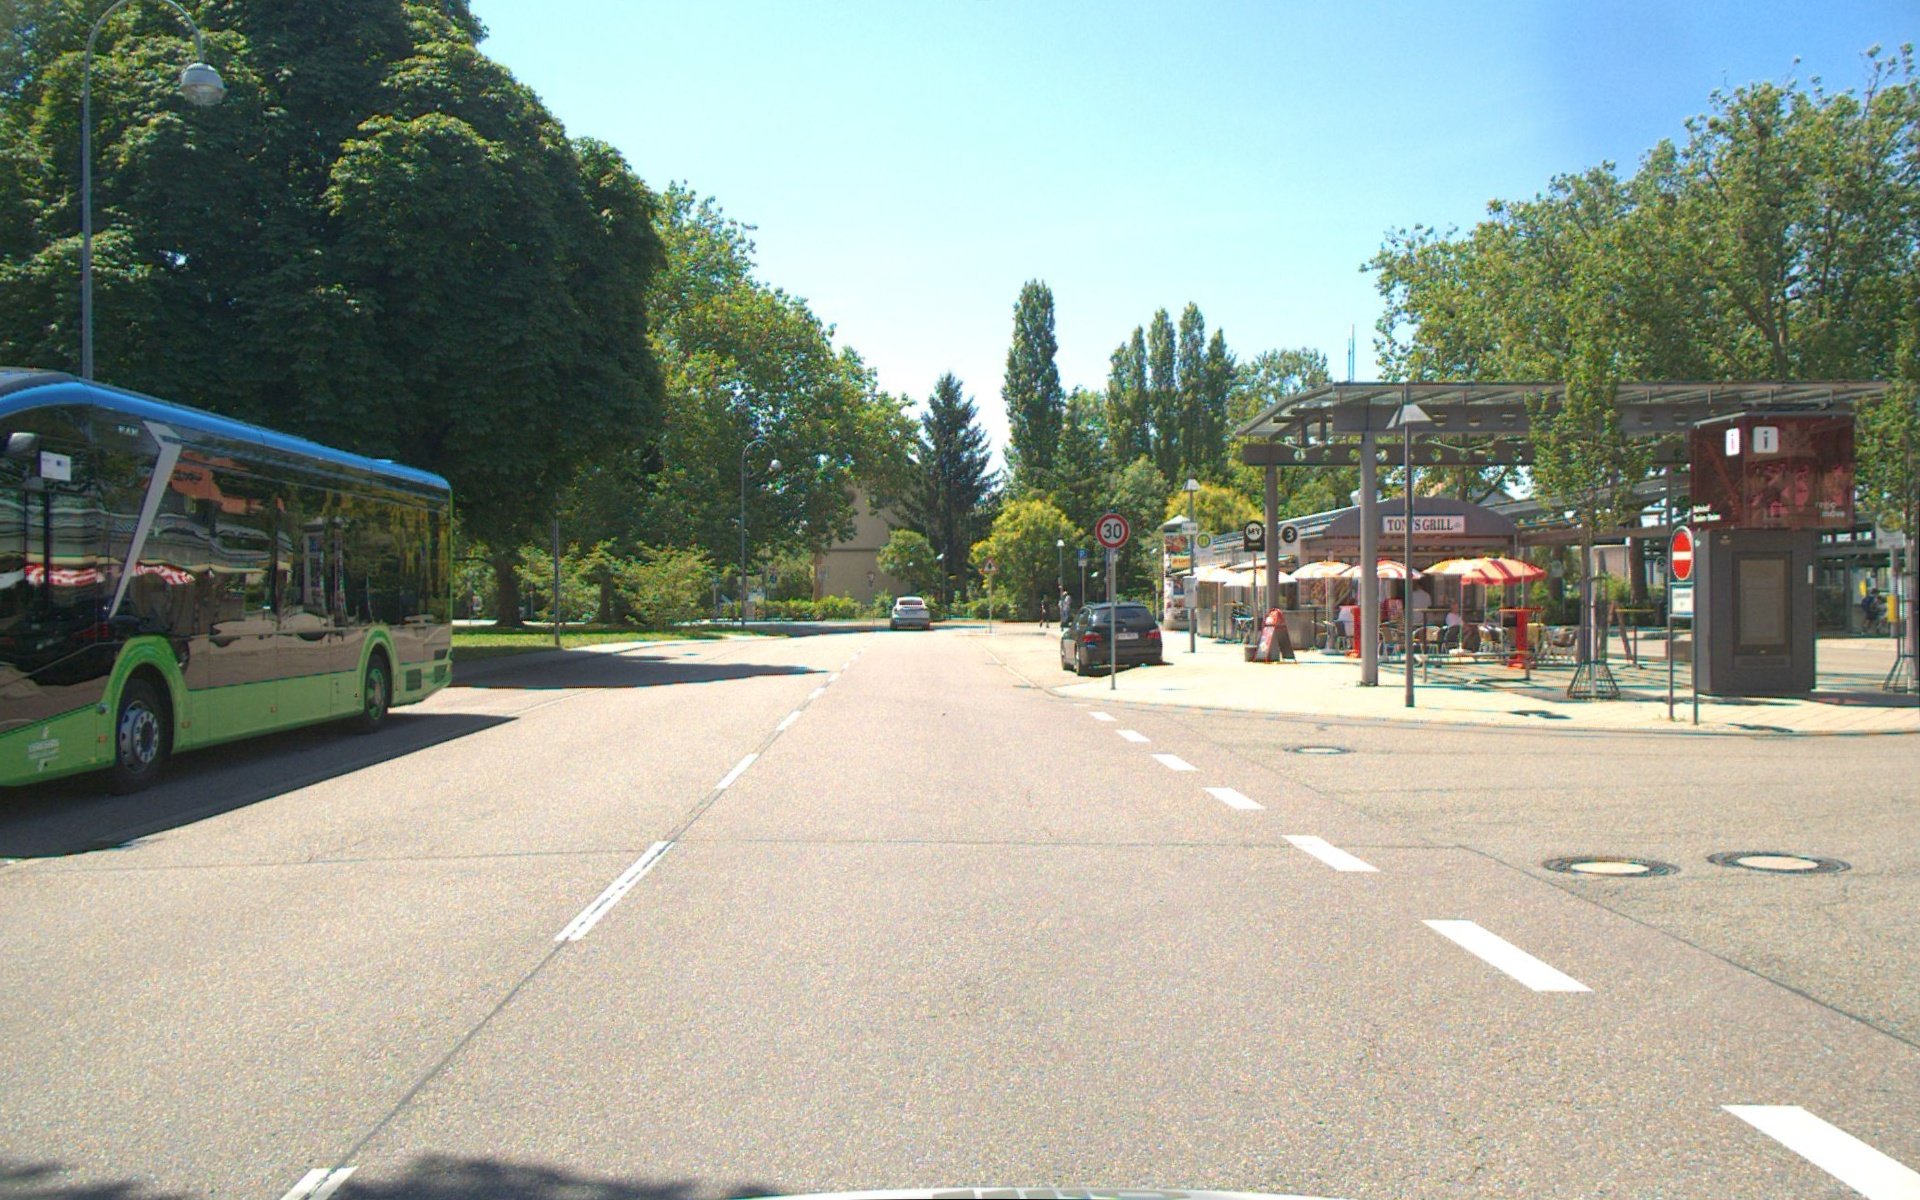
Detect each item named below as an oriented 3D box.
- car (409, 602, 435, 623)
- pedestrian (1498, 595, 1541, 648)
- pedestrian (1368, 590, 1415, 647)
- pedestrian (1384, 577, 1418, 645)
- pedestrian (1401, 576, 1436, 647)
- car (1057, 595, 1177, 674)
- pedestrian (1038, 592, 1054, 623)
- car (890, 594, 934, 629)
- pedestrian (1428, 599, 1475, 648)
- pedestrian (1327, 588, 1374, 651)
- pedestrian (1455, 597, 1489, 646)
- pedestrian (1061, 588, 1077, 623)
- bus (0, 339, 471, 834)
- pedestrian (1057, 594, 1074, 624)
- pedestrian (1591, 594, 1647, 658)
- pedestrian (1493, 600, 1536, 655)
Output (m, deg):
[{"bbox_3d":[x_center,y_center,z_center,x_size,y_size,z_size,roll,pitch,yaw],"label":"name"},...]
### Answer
[{"bbox_3d":[-38.621,0.867,118.796,1.524,1.435,3.788,0,0,-14],"label":"car"},{"bbox_3d":[13.397,0.510,39.644,0.743,1.226,0.737,2,-1,-2],"label":"pedestrian"},{"bbox_3d":[10.416,0.439,39.920,0.885,1.335,0.679,0,0,-37],"label":"pedestrian"},{"bbox_3d":[11.535,0.282,43.318,0.672,1.768,0.707,0,0,-2],"label":"pedestrian"},{"bbox_3d":[11.587,0.290,41.786,0.672,1.768,0.707,0,-1,-2],"label":"pedestrian"},{"bbox_3d":[3.320,0.702,35.916,1.888,1.486,4.722,-3,0,-3],"label":"car"},{"bbox_3d":[4.713,0.425,90.435,0.623,1.678,0.750,0,-2,26],"label":"pedestrian"},{"bbox_3d":[-2.368,0.551,83.420,1.941,1.655,4.779,-1,0,1],"label":"car"},{"bbox_3d":[11.851,0.560,39.873,0.885,1.181,0.679,0,0,-37],"label":"pedestrian"},{"bbox_3d":[9.042,0.435,38.277,0.886,1.442,0.679,0,0,-40],"label":"pedestrian"},{"bbox_3d":[12.955,0.547,41.825,0.642,1.226,0.592,2,-1,-2],"label":"pedestrian"},{"bbox_3d":[6.354,0.323,96.580,0.837,2.000,0.805,0,0,-4],"label":"pedestrian"},{"bbox_3d":[-8.065,-0.116,17.059,2.752,3.340,12.420,0,0,-2],"label":"bus"},{"bbox_3d":[5.862,0.515,92.036,0.706,1.678,0.750,0,-2,26],"label":"pedestrian"},{"bbox_3d":[13.550,0.529,34.023,0.828,1.300,0.895,0,0,2],"label":"pedestrian"},{"bbox_3d":[12.014,0.594,35.853,0.672,1.181,0.895,0,0,2],"label":"pedestrian"}]
